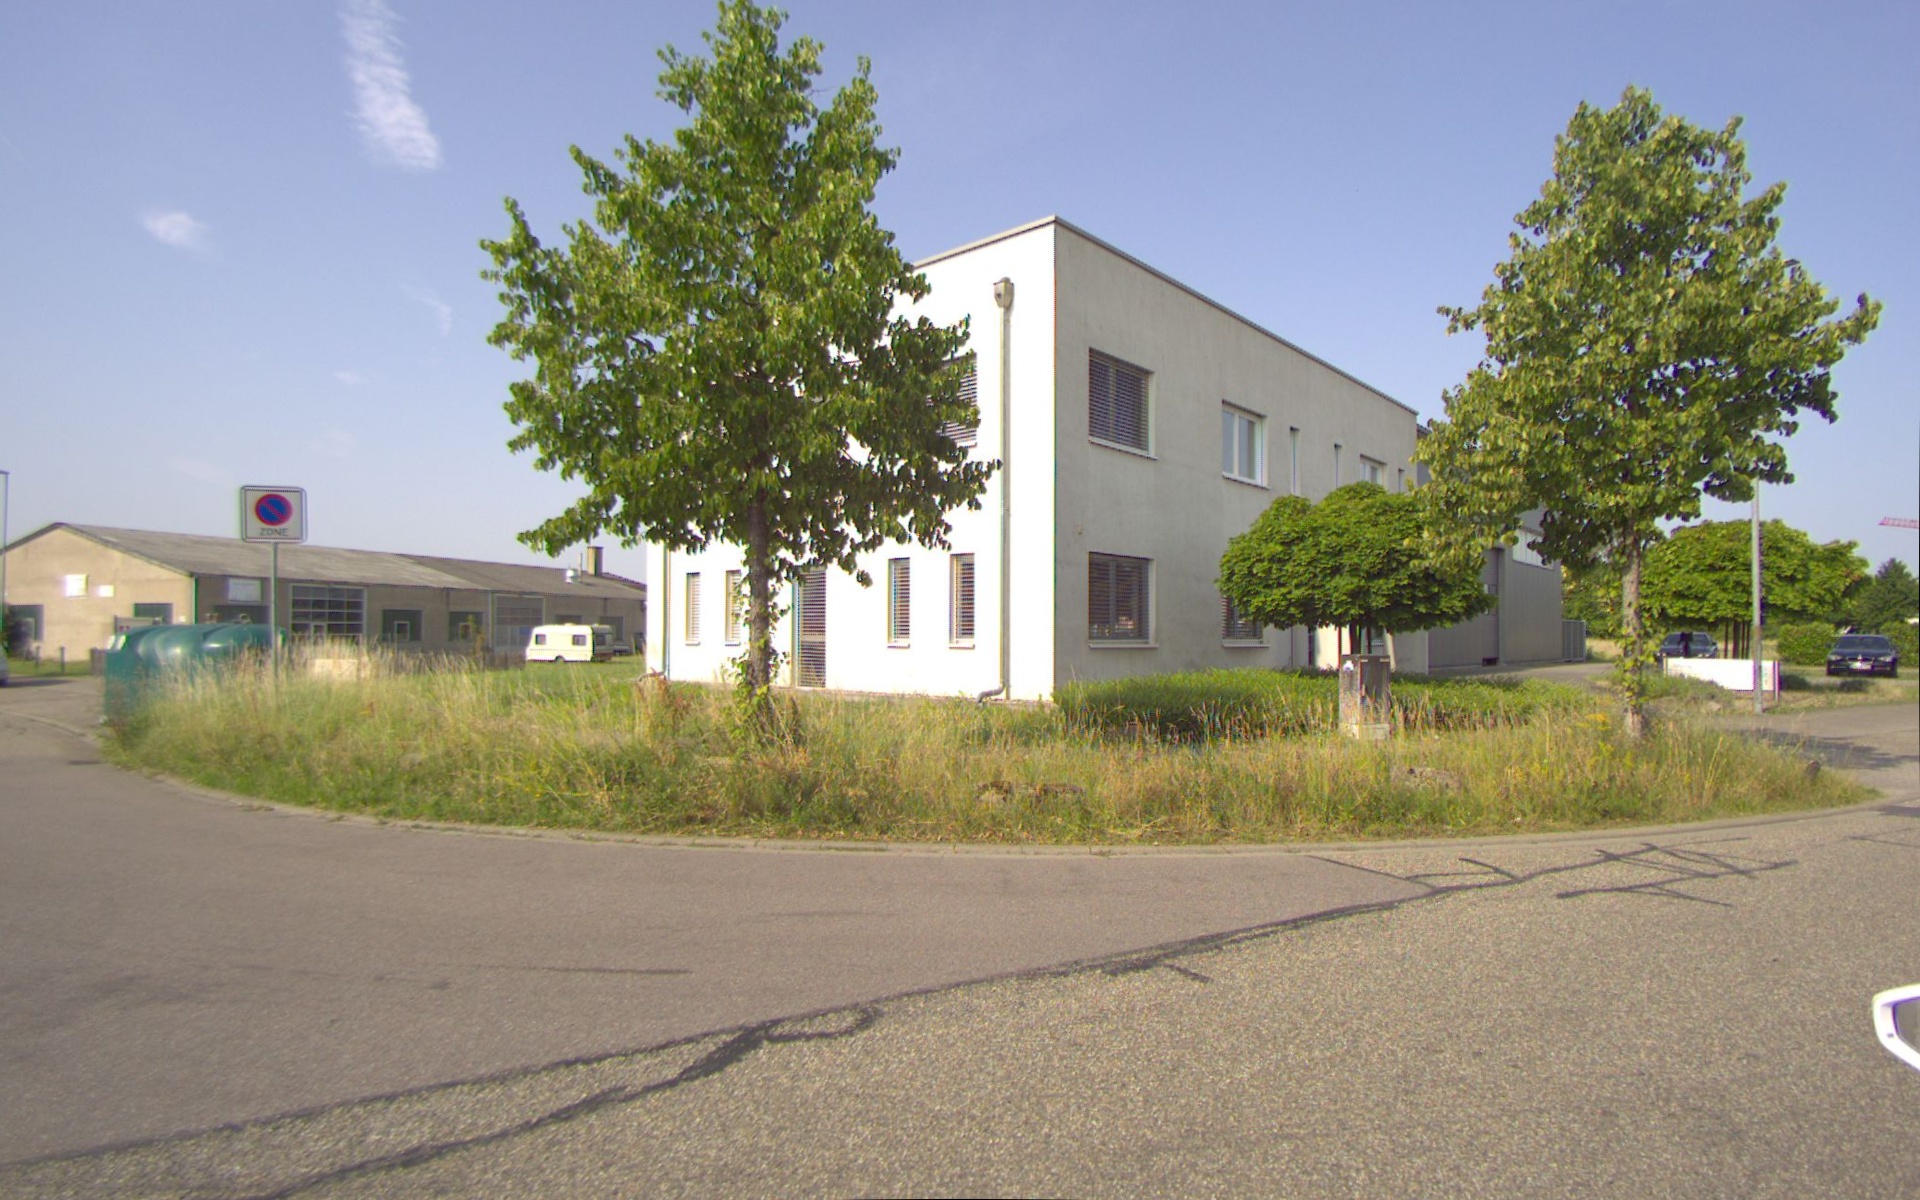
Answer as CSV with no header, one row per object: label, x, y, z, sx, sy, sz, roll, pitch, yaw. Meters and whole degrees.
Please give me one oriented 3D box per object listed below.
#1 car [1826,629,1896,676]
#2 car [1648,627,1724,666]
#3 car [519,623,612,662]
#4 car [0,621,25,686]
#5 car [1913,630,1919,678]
car,30.674,1.742,34.288,1.659,1.496,4.330,0,-1,40
car,27.124,1.700,37.480,1.966,1.342,4.330,0,-1,41
car,-22.707,2.421,57.900,4.558,2.166,2.148,0,-2,15
car,-29.836,1.548,29.845,4.807,1.848,2.017,-1,-2,35
car,35.948,1.952,36.374,1.967,1.680,4.397,0,-1,42
